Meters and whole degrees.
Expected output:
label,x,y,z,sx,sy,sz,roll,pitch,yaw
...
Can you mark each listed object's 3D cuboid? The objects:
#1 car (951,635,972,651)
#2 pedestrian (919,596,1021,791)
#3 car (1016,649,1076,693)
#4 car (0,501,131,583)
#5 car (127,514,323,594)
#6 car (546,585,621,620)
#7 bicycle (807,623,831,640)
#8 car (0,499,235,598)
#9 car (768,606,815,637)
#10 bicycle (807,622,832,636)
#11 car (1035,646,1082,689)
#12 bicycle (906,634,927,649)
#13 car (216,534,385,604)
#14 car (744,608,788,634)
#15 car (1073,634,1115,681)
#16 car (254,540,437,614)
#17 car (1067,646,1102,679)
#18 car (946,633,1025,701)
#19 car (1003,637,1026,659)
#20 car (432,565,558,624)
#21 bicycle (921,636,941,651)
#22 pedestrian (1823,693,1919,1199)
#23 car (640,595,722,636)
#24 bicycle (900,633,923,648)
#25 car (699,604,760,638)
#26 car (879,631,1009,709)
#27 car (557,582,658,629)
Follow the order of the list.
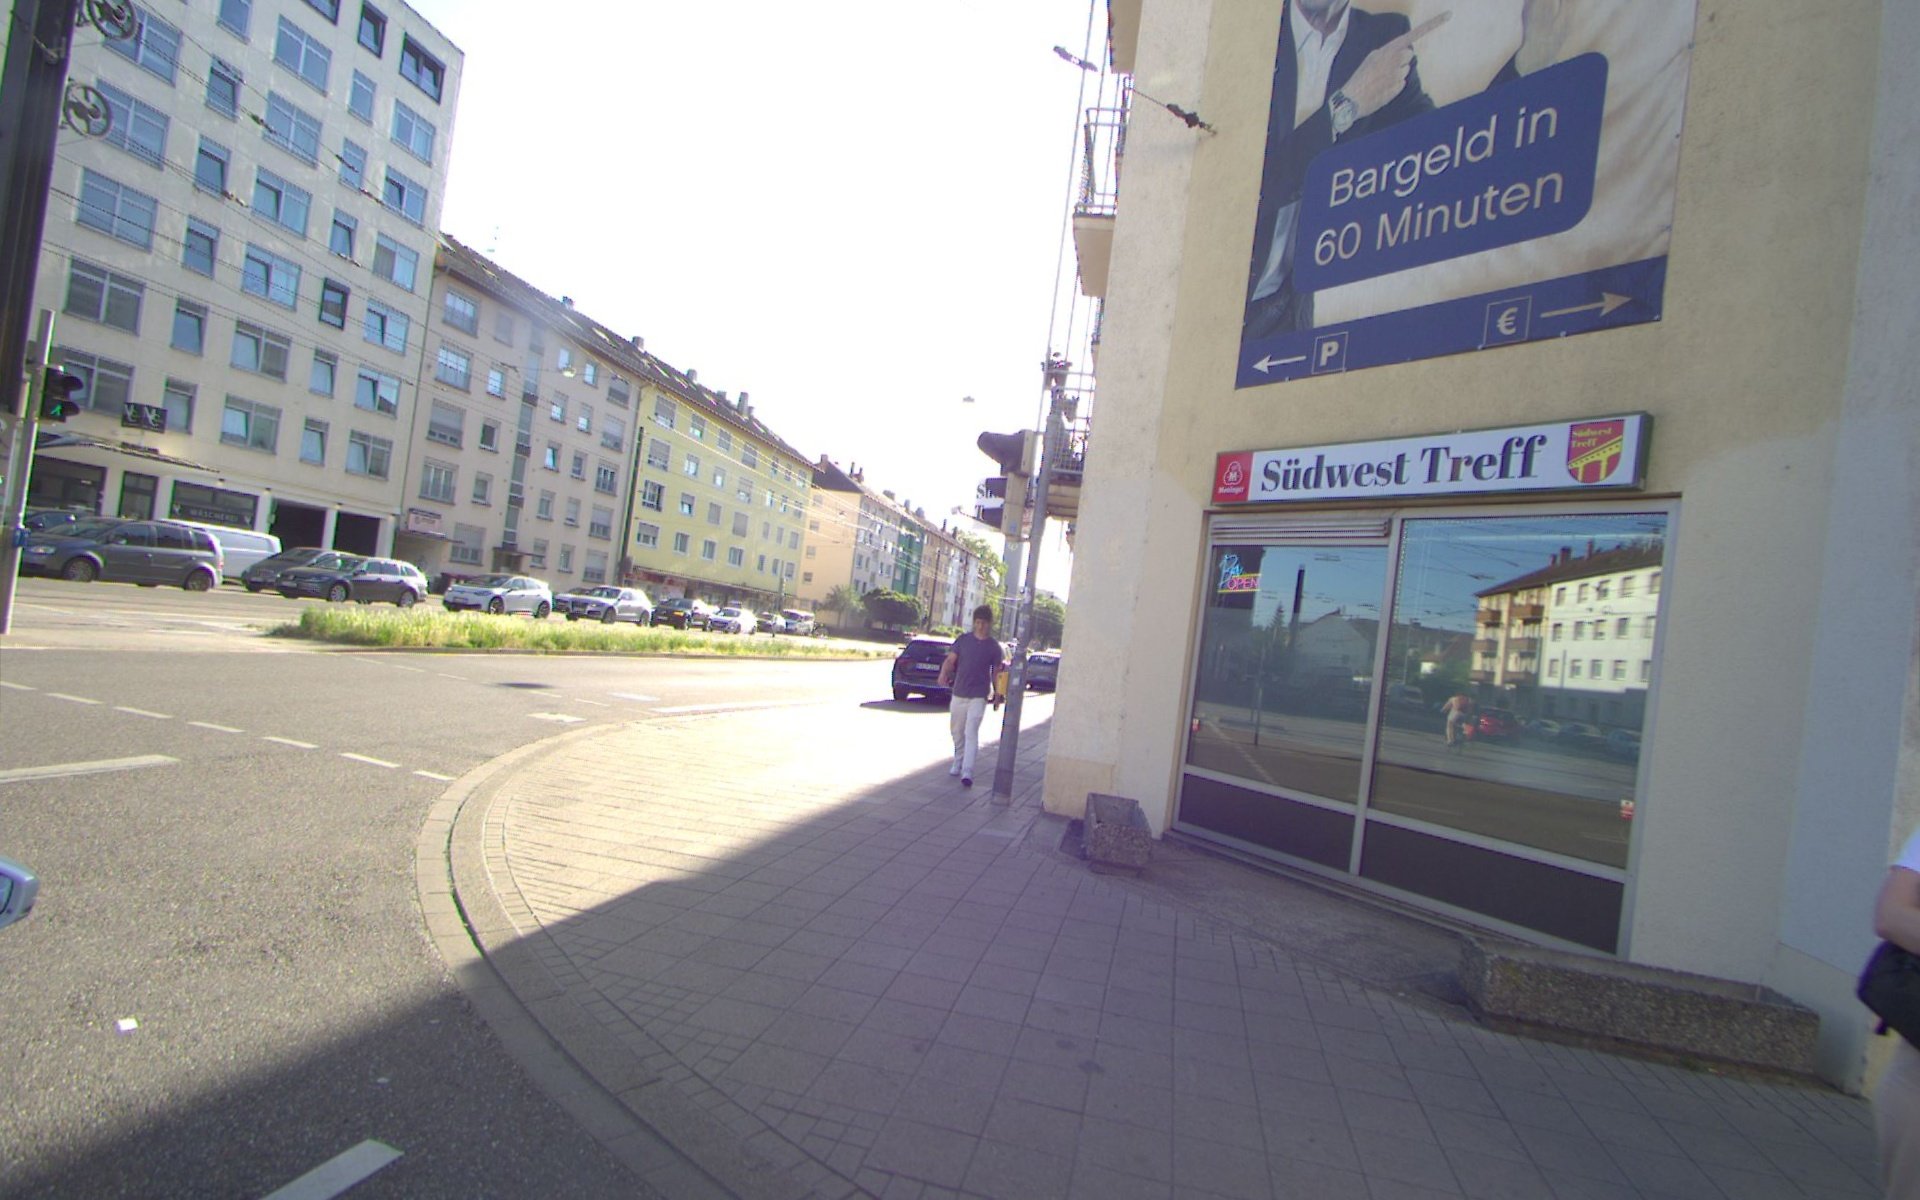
label,x,y,z,sx,sy,sz,roll,pitch,yaw
car,0.206,5.695,132.097,1.962,1.597,4.009,7,-4,11
pedestrian,0.122,0.908,10.002,0.674,1.763,1.043,6,-1,11
car,3.432,2.786,39.585,1.744,1.488,4.099,5,-2,12
car,-22.443,-1.474,23.789,1.761,1.593,4.053,7,-3,11
car,-25.147,-1.489,34.731,1.912,1.889,5.334,10,-2,13
car,-20.557,0.169,55.065,1.748,1.451,4.062,7,-3,14
bicycle,-12.568,2.846,89.895,1.940,1.219,0.696,9,-3,-14
car,-19.434,-1.128,22.877,1.899,1.565,4.460,7,-3,14
car,-14.271,1.862,85.636,1.972,2.129,5.313,7,-3,11
bicycle,-12.784,2.642,91.731,2.042,1.033,0.805,8,-3,0
car,4.433,2.976,44.612,1.635,1.663,4.190,5,-2,10
bicycle,-4.791,4.545,111.195,2.094,1.338,0.898,7,-3,7
car,-21.098,-0.943,32.442,1.951,1.593,4.331,7,-3,11
car,-15.310,1.703,79.605,1.737,1.503,3.925,7,-4,15
car,8.622,3.681,64.396,2.124,2.682,5.651,5,-2,11
car,-18.010,-0.606,29.784,1.789,1.507,4.549,7,-3,14
car,7.118,3.534,57.143,1.564,1.653,3.923,5,-2,11
car,0.739,1.789,26.879,1.527,1.543,2.994,6,-3,11
car,9.590,8.476,176.637,2.938,3.271,6.809,7,-4,11
car,-16.429,-0.142,35.797,1.809,1.532,4.251,7,-3,11
bicycle,-3.296,4.907,113.404,2.096,1.338,0.897,8,-3,-5
pedestrian,2.278,1.062,2.009,0.722,1.645,0.538,6,3,36
car,-13.789,0.806,50.031,1.932,1.496,4.577,7,-3,11
bicycle,-5.250,4.367,109.406,2.272,1.318,0.915,7,-3,9
car,-12.911,1.211,56.661,1.794,1.462,4.292,7,-3,8
car,-0.229,1.577,22.847,1.853,1.414,4.748,5,-3,12
car,-14.942,0.288,42.923,1.835,1.595,4.636,5,-2,11
